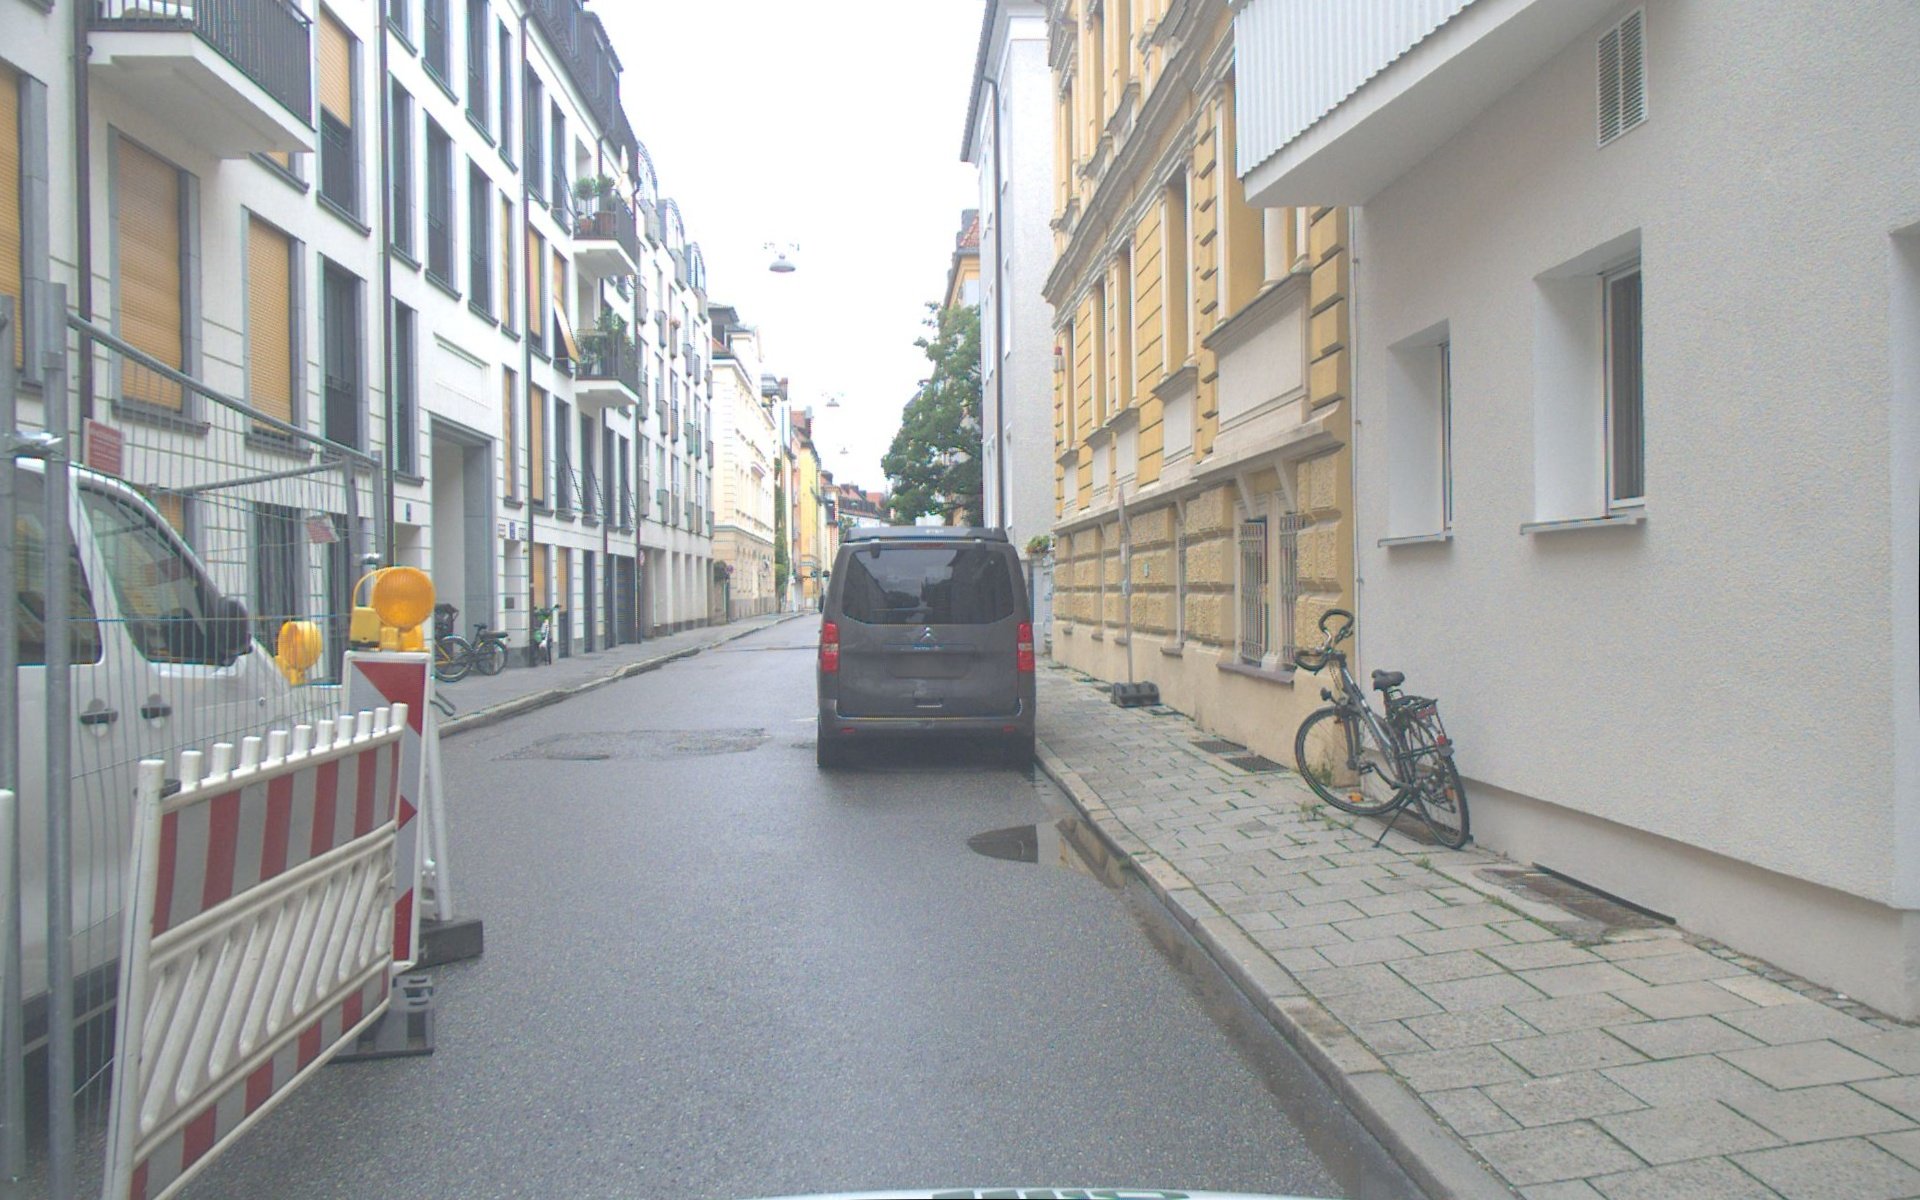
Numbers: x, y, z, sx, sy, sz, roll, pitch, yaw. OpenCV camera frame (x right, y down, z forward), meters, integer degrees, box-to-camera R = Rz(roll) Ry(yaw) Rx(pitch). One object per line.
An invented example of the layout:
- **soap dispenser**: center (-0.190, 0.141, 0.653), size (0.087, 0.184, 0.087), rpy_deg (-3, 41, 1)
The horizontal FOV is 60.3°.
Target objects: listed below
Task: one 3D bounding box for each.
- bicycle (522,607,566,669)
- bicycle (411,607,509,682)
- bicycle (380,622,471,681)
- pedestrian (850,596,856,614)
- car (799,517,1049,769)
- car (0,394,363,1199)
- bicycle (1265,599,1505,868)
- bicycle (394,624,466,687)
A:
- **bicycle**: center (-8.049, 0.724, 32.075), size (0.333, 1.166, 2.190), rpy_deg (-1, -1, -2)
- **bicycle**: center (-8.519, 0.738, 28.219), size (0.373, 1.214, 1.677), rpy_deg (1, 2, 40)
- **bicycle**: center (-8.732, 0.827, 27.025), size (1.376, 0.904, 0.375), rpy_deg (0, 1, -37)
- **pedestrian**: center (-10.354, 0.469, 159.324), size (0.528, 1.682, 0.376), rpy_deg (-1, 0, -3)
- **car**: center (-0.428, 0.330, 15.338), size (1.954, 1.965, 4.656), rpy_deg (1, 0, -4)
- **car**: center (-3.324, 0.482, 4.733), size (1.868, 1.930, 5.082), rpy_deg (-1, 0, -6)
- **bicycle**: center (2.142, 0.616, 8.600), size (0.625, 1.173, 1.914), rpy_deg (-3, 1, -2)
- **bicycle**: center (-8.450, 0.877, 26.392), size (1.055, 0.964, 0.304), rpy_deg (0, 1, -37)
